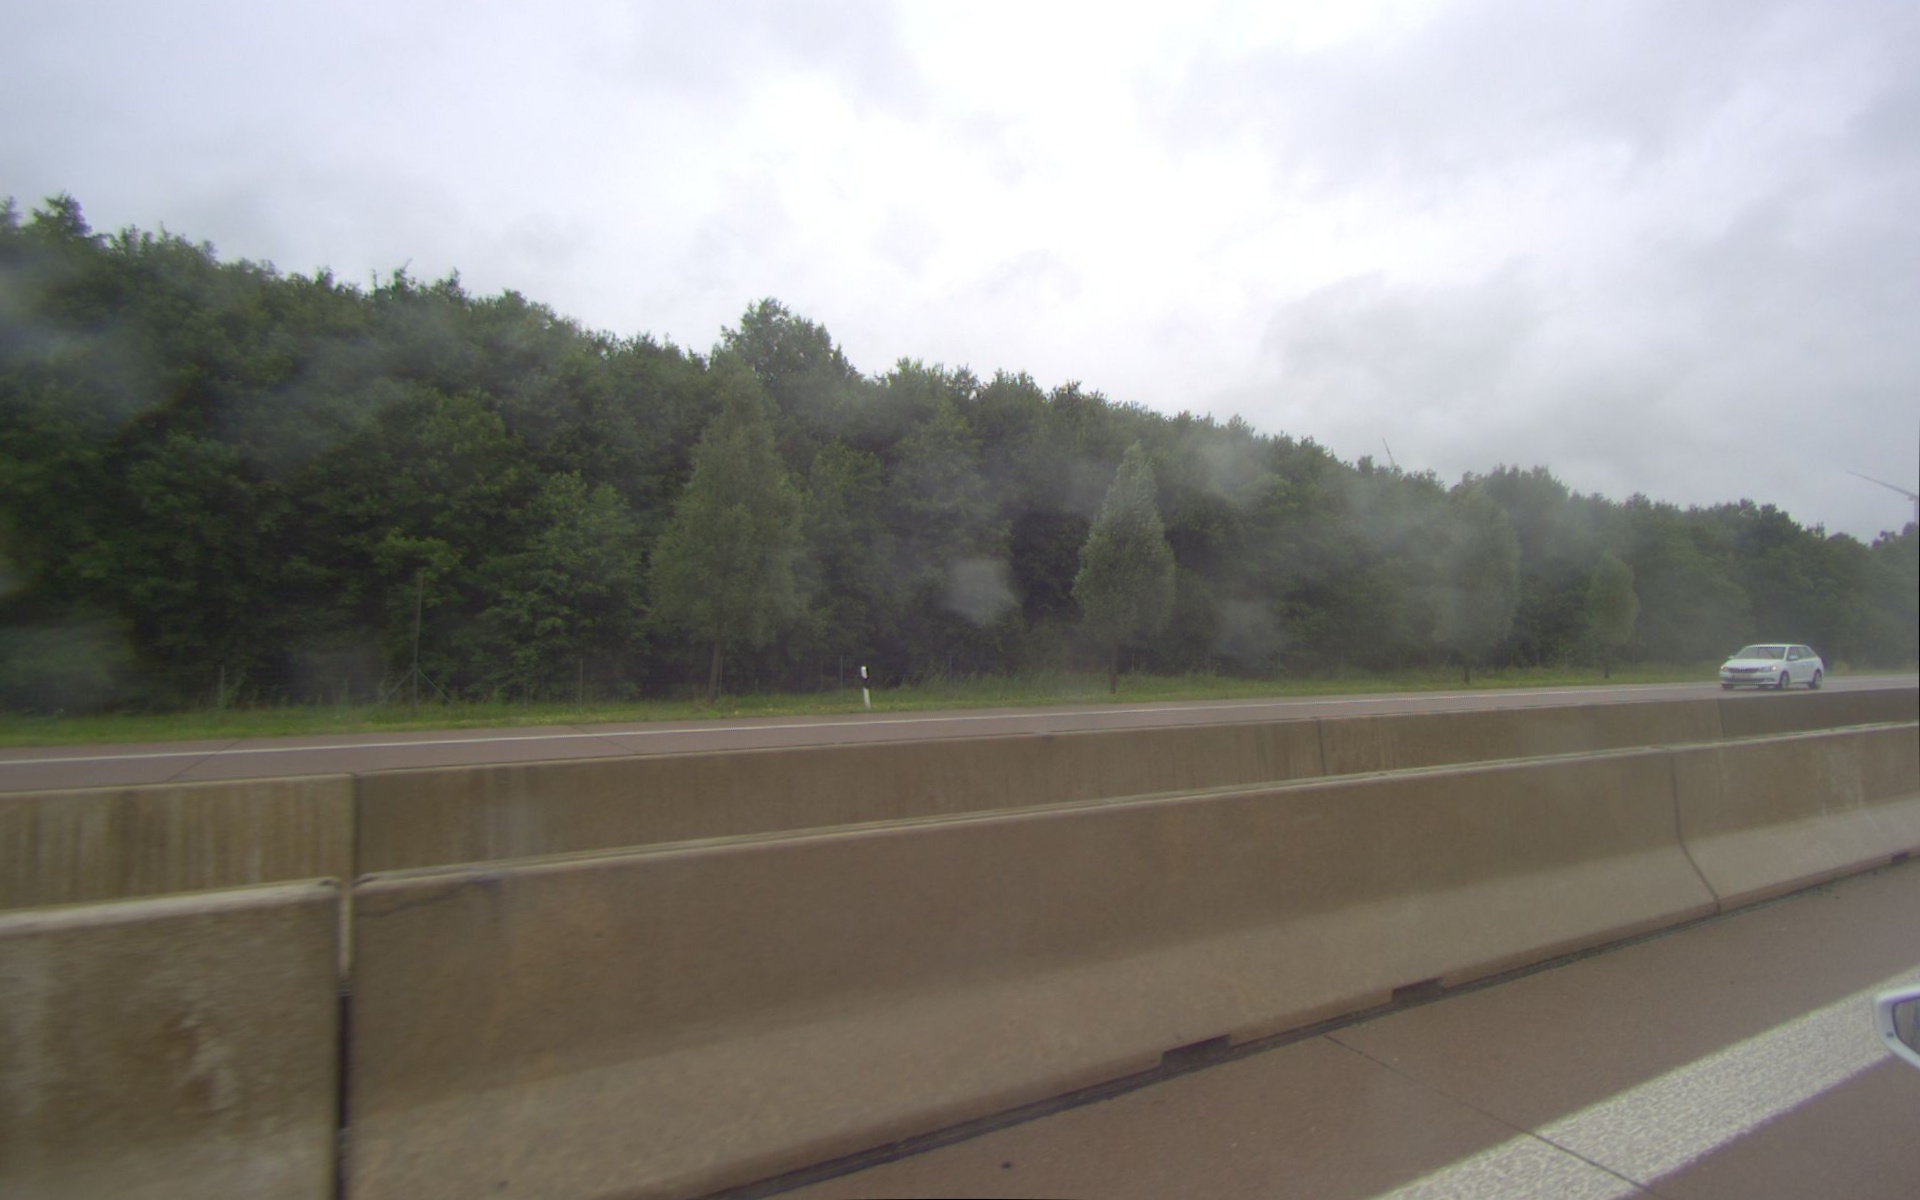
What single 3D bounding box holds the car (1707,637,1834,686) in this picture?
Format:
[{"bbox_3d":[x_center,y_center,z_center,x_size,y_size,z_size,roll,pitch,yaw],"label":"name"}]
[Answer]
[{"bbox_3d":[26.695,2.007,33.054,4.529,1.499,1.746,1,-4,-30],"label":"car"}]
